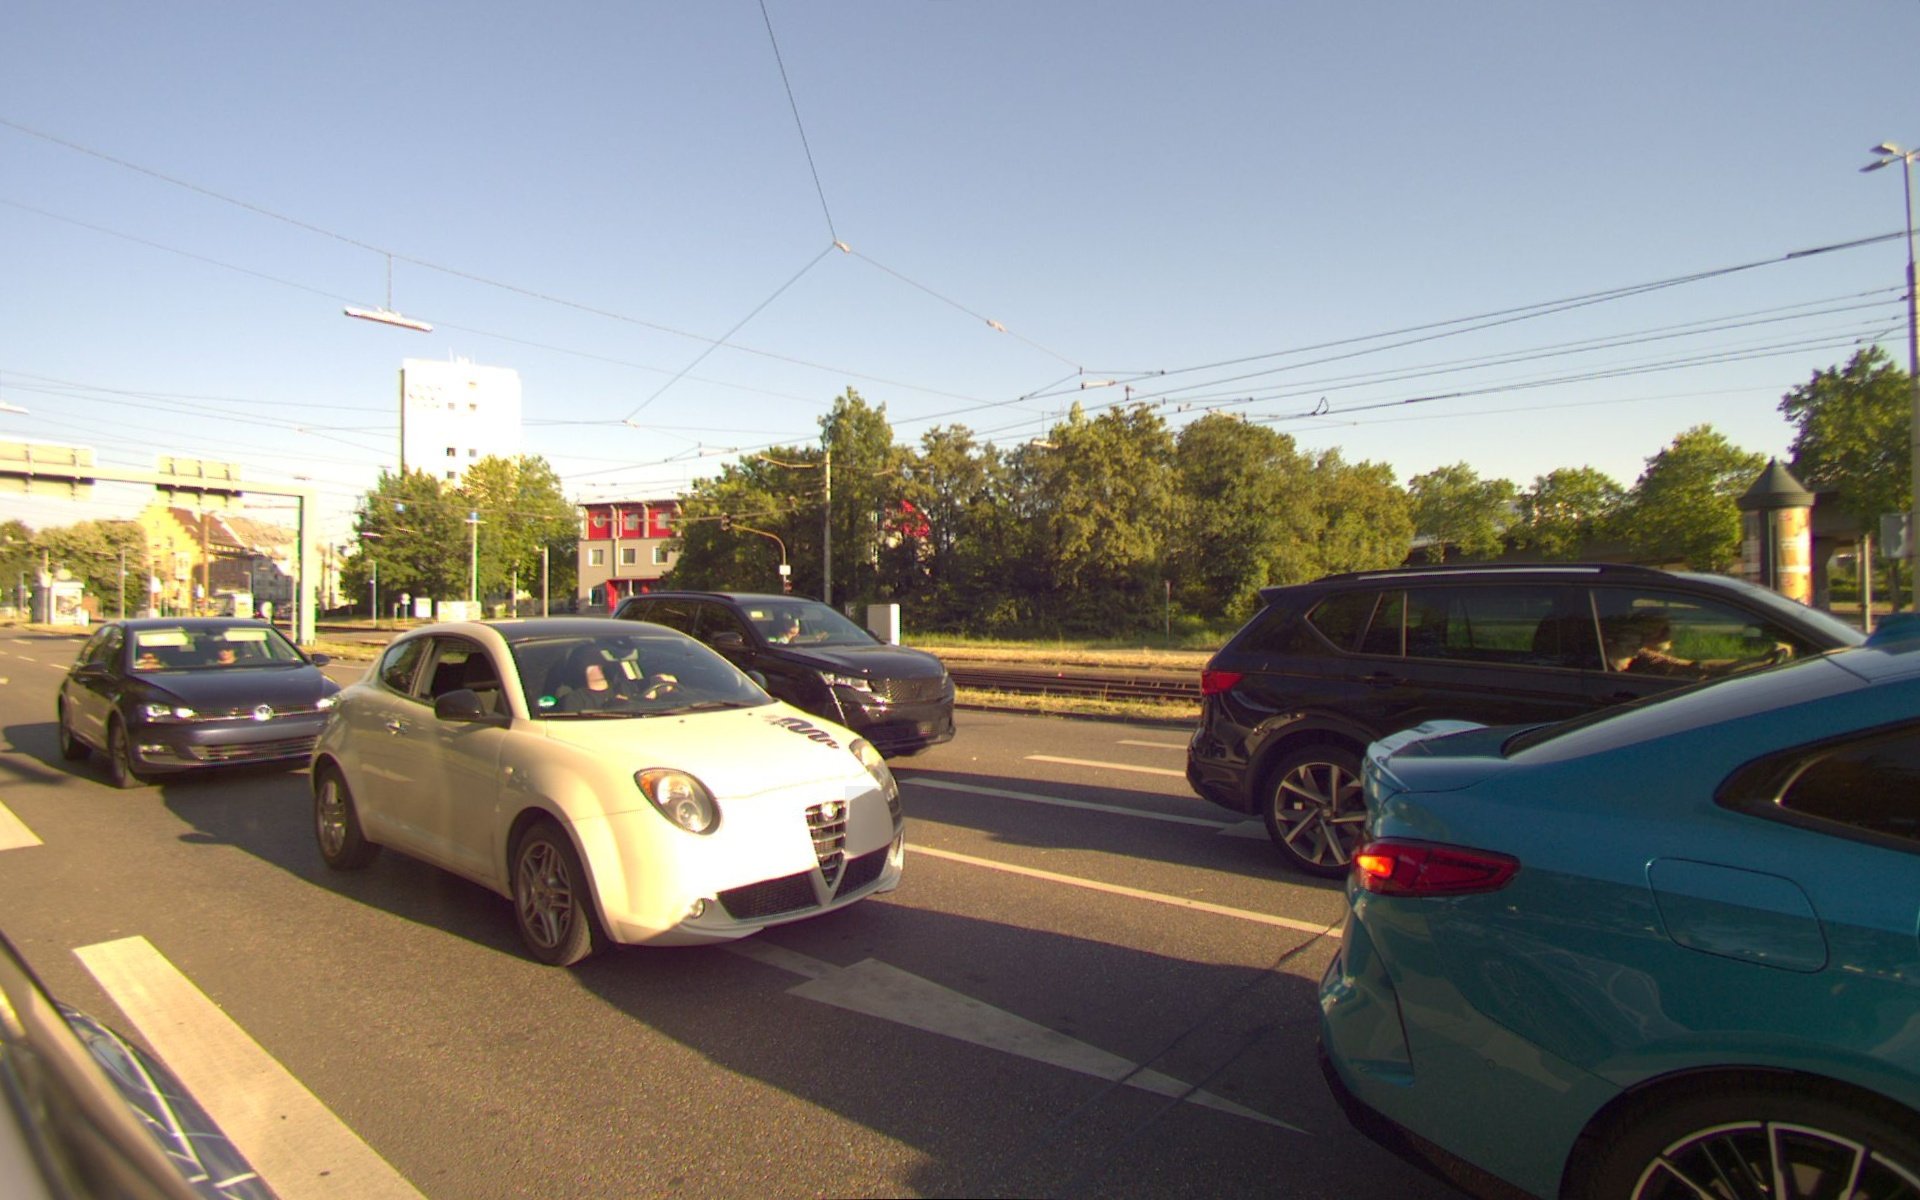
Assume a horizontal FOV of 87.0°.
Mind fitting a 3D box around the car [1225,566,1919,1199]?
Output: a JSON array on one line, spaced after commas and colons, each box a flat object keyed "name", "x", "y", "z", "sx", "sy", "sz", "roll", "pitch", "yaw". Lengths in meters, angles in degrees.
[{"name": "car", "x": 2.878, "y": 0.651, "z": 1.470, "sx": 4.507, "sy": 1.428, "sz": 1.767, "roll": -1, "pitch": -1, "yaw": 39}]

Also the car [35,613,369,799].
[{"name": "car", "x": -7.450, "y": 0.860, "z": 9.825, "sx": 3.921, "sy": 1.441, "sz": 1.759, "roll": -1, "pitch": -1, "yaw": 40}]

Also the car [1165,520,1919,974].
[{"name": "car", "x": 3.540, "y": 0.565, "z": 5.058, "sx": 4.598, "sy": 1.694, "sz": 1.896, "roll": -1, "pitch": -1, "yaw": 40}]

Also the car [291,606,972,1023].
[{"name": "car", "x": -1.967, "y": 0.772, "z": 5.407, "sx": 3.921, "sy": 1.441, "sz": 1.644, "roll": -1, "pitch": -1, "yaw": 40}]

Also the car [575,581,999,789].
[{"name": "car", "x": -1.957, "y": 0.716, "z": 10.355, "sx": 4.601, "sy": 1.661, "sz": 1.894, "roll": -1, "pitch": -1, "yaw": 43}]
